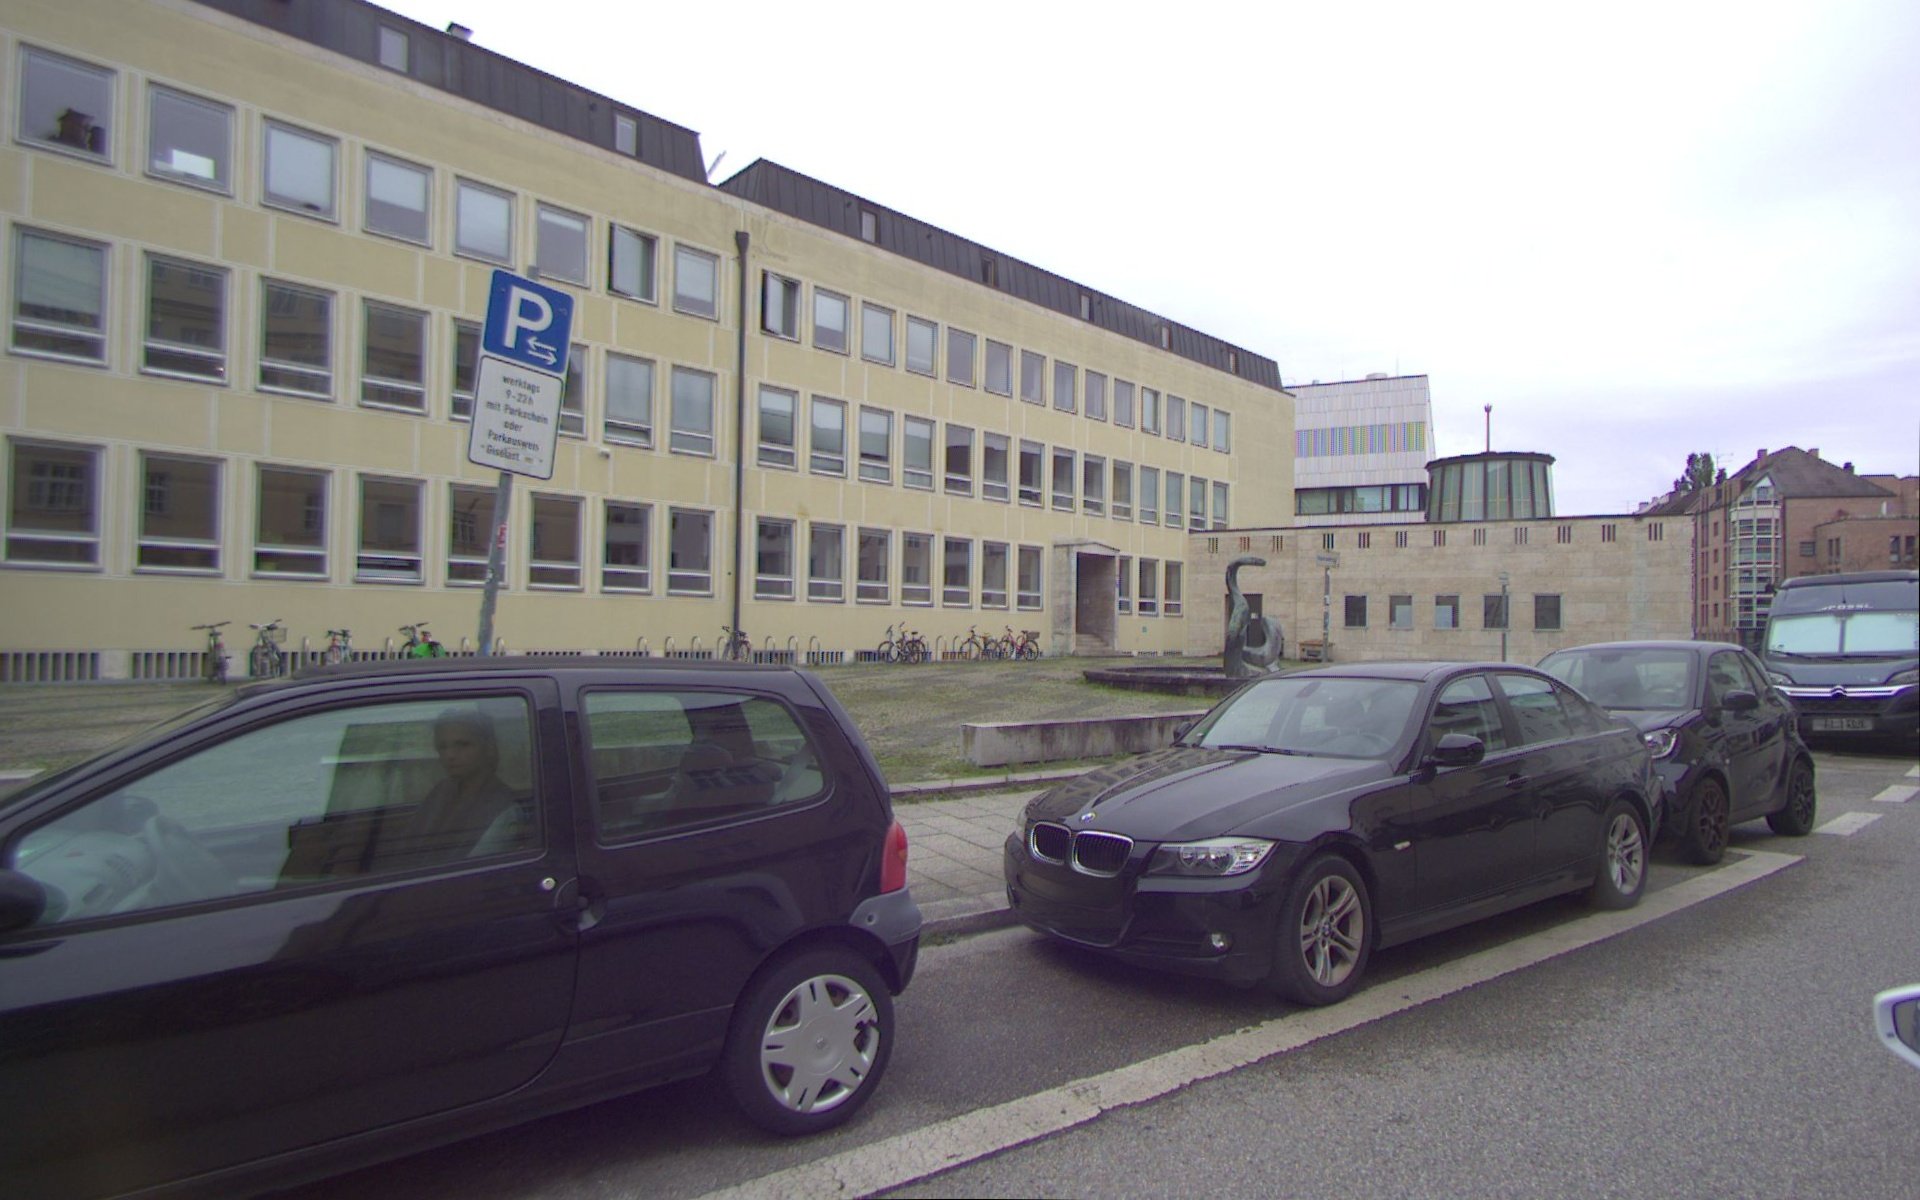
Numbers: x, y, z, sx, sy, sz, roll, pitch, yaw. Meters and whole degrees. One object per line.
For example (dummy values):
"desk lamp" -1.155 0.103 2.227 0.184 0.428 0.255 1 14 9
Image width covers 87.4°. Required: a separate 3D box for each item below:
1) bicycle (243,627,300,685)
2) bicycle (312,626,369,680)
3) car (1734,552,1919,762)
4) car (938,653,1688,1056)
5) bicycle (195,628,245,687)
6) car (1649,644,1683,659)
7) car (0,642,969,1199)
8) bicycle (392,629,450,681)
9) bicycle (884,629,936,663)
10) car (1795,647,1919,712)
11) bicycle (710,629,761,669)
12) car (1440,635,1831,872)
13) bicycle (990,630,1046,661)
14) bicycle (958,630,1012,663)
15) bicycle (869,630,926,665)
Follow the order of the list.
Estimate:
"bicycle" -13.349 1.060 19.443 0.621 1.028 1.928 2 -2 -43
"bicycle" -12.686 1.063 20.533 0.621 1.028 1.928 2 -2 -43
"car" 13.859 0.832 15.508 5.977 2.676 2.143 2 -3 -44
"car" 2.182 1.017 5.641 4.412 1.424 1.787 2 -4 -36
"bicycle" -13.846 1.045 18.774 0.620 1.028 1.931 2 -1 -39
"car" 74.289 5.402 105.734 1.777 1.492 4.118 1 -1 18
"car" -1.779 0.876 3.033 3.277 1.472 1.647 2 -3 -33
"bicycle" -11.487 1.142 21.386 0.621 1.028 1.928 2 -2 -43
"bicycle" -1.605 1.452 31.856 0.620 1.028 1.931 2 -1 -39
"car" 22.897 1.906 24.093 4.003 1.500 1.687 -2 -5 10
"bicycle" -6.119 1.310 27.317 0.619 1.028 1.933 2 -1 -36
"car" 5.433 1.070 8.031 2.949 1.521 1.659 2 -4 -36
"bicycle" 1.977 1.557 34.566 1.923 1.028 0.623 0 -1 40
"bicycle" 0.819 1.549 33.757 0.621 1.028 1.928 2 -2 -43
"bicycle" -1.937 1.450 30.990 1.926 1.028 0.622 0 -2 44
